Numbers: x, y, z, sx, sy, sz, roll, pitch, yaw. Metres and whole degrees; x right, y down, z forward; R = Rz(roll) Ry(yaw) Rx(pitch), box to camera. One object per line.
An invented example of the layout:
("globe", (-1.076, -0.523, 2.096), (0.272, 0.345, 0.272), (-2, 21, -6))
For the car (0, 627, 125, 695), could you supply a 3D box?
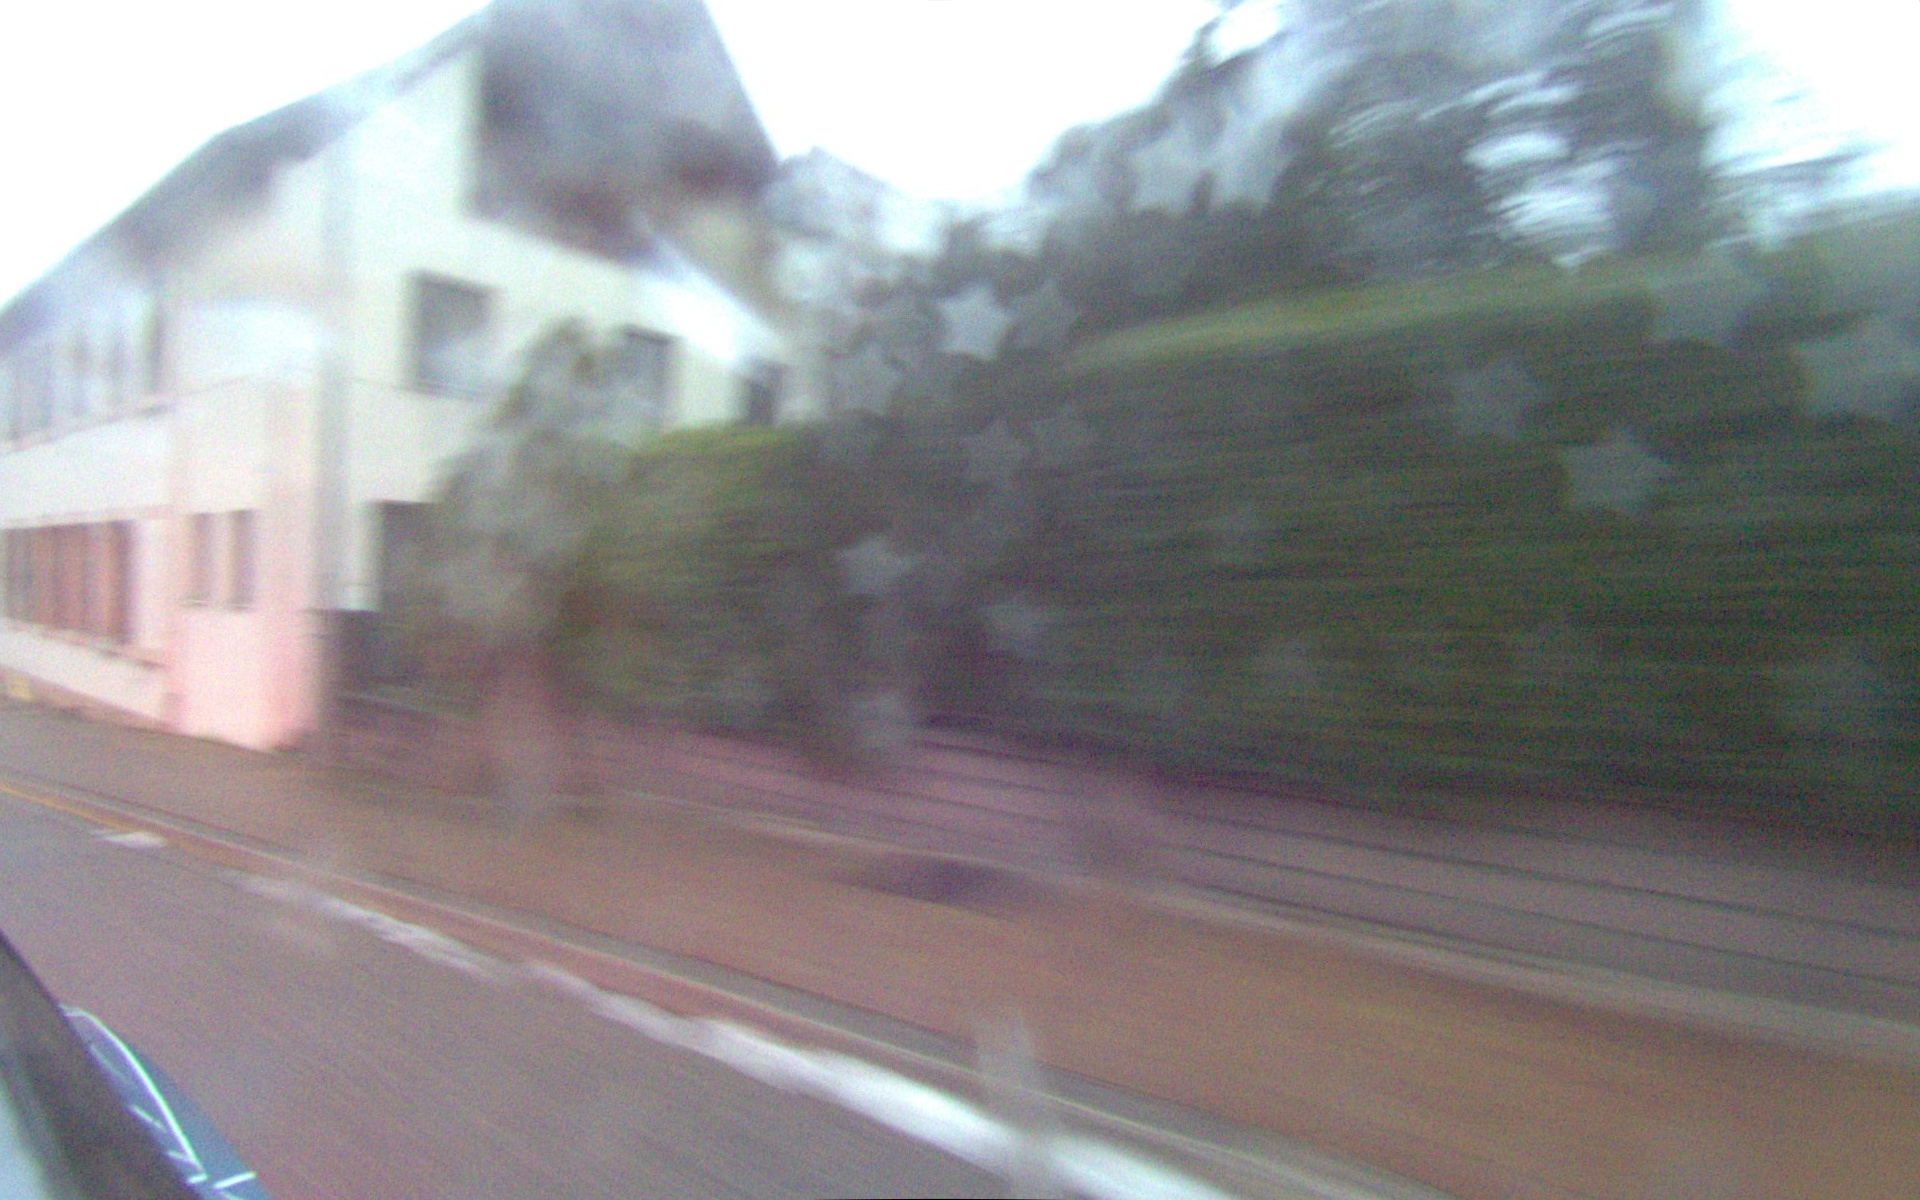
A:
("car", (-22.070, 1.389, 23.276), (4.181, 1.436, 1.998), (-1, 0, 3))
